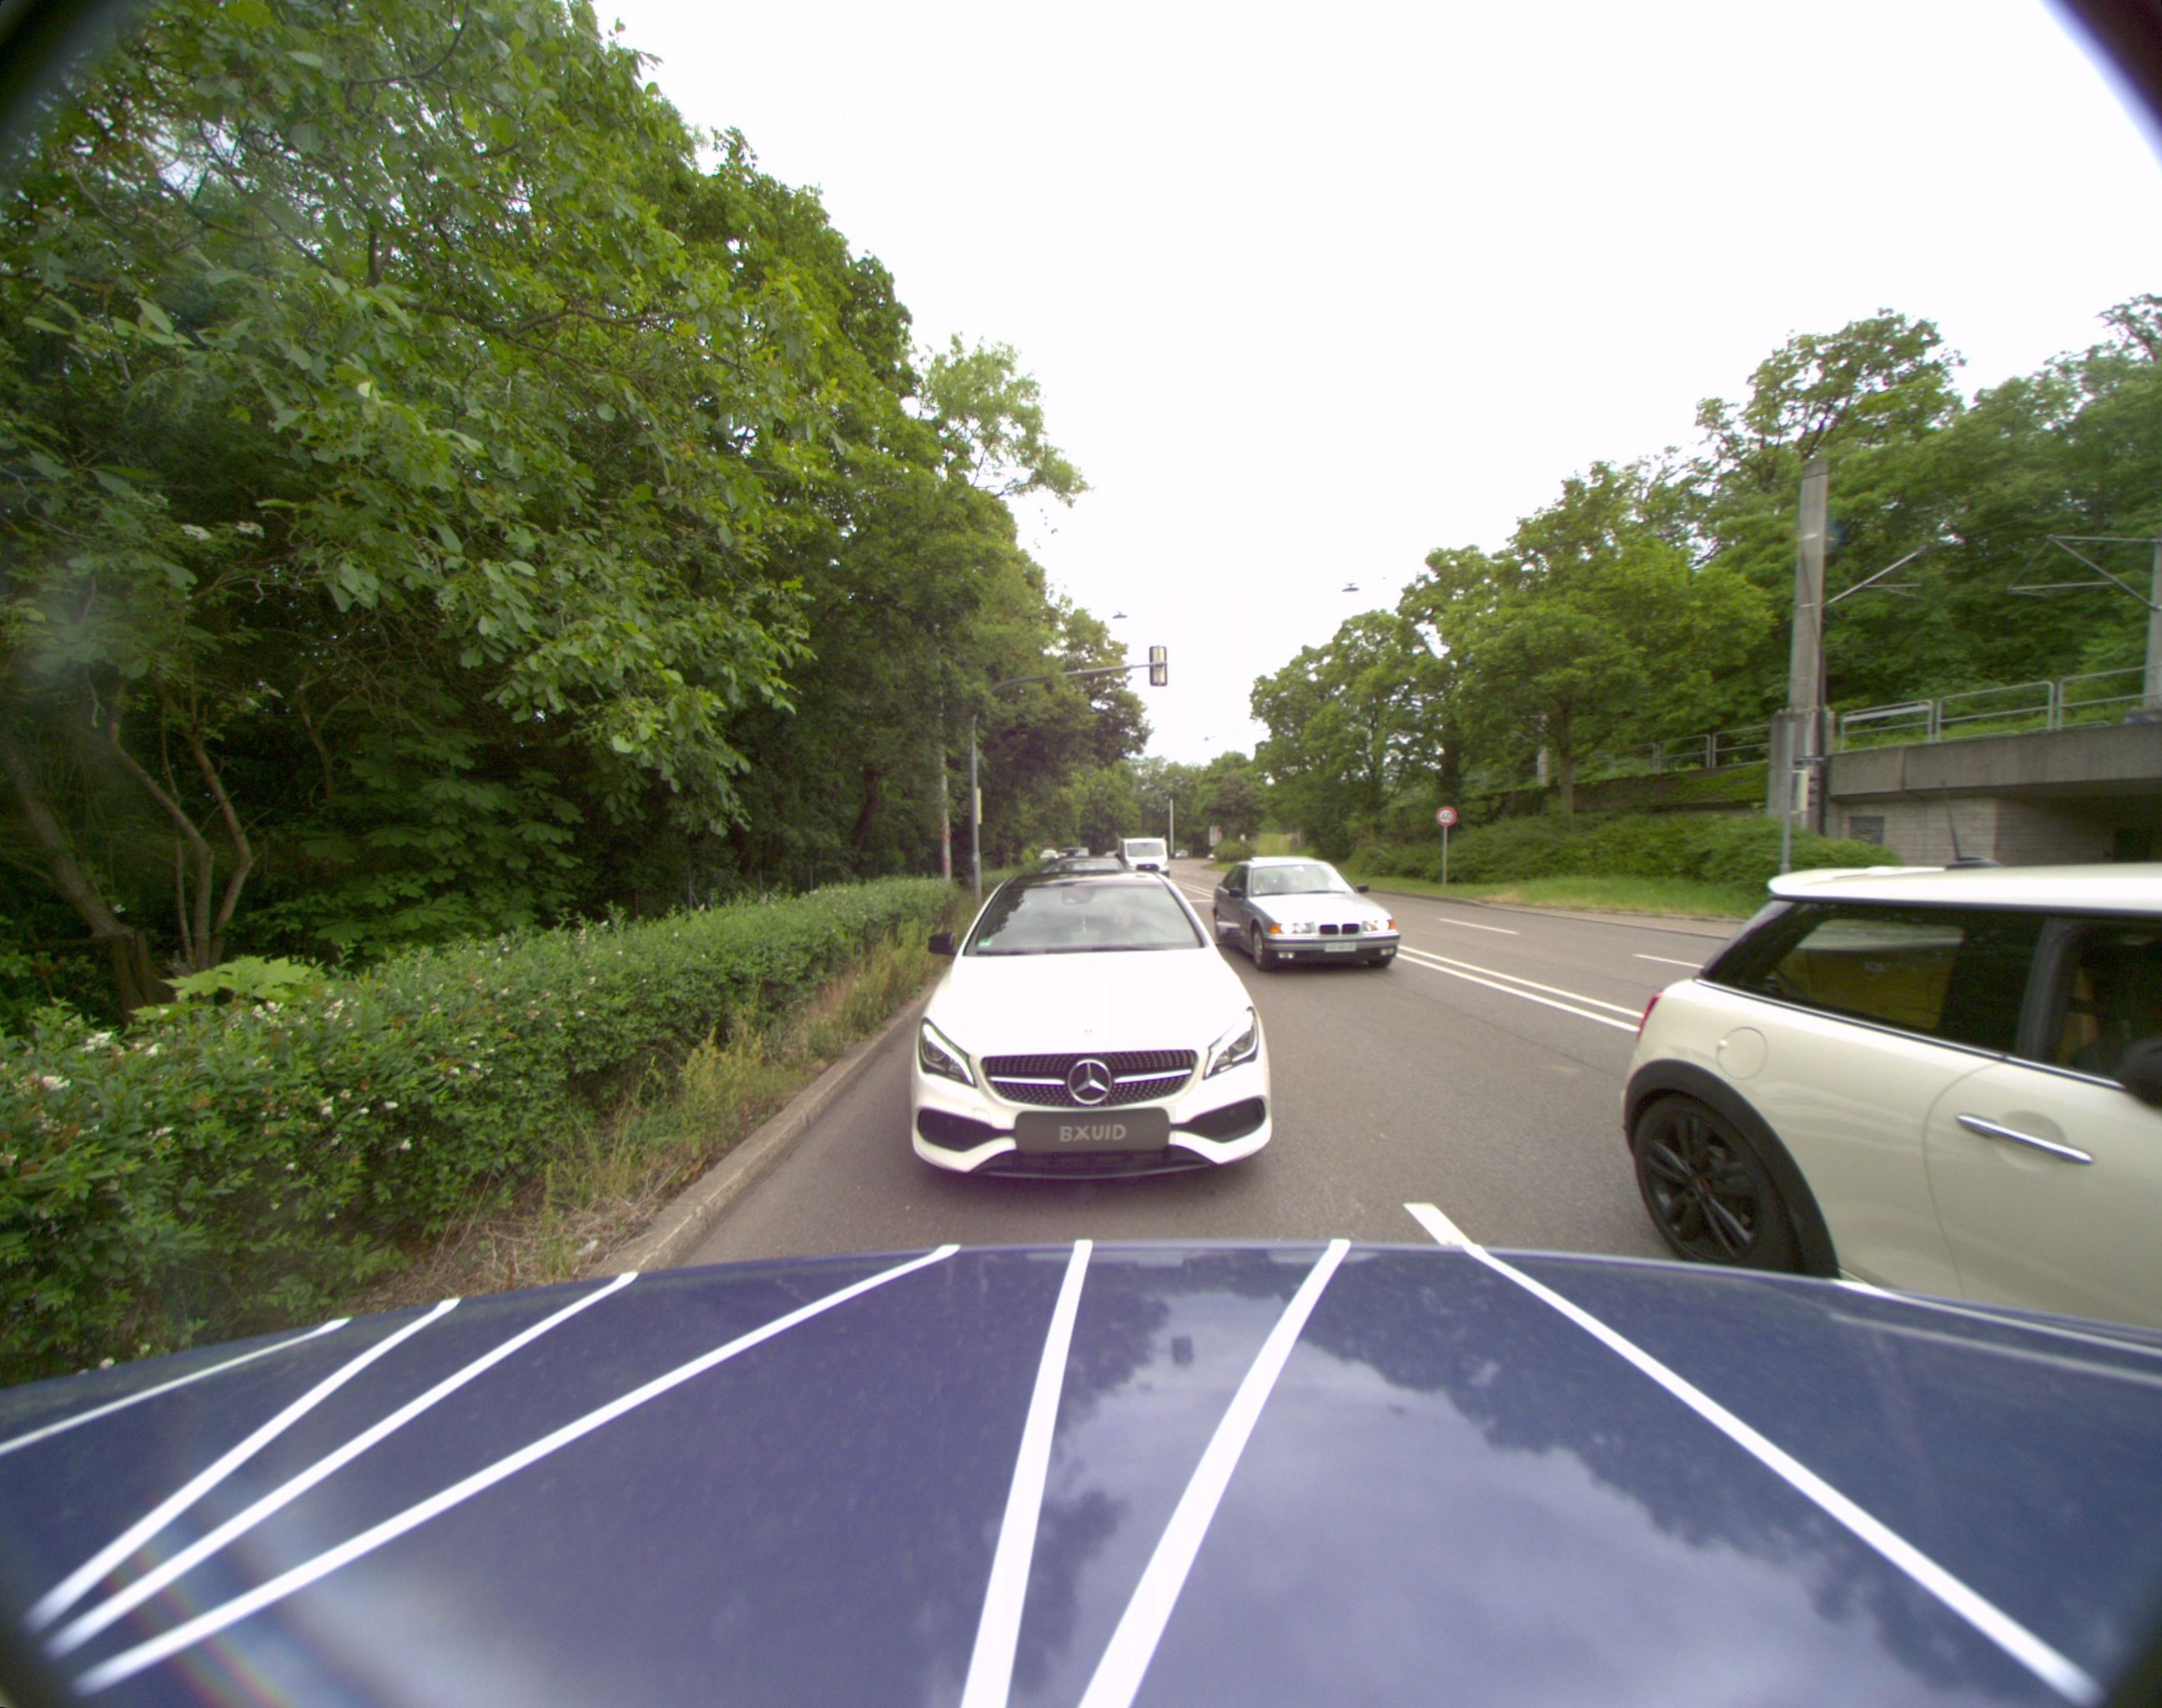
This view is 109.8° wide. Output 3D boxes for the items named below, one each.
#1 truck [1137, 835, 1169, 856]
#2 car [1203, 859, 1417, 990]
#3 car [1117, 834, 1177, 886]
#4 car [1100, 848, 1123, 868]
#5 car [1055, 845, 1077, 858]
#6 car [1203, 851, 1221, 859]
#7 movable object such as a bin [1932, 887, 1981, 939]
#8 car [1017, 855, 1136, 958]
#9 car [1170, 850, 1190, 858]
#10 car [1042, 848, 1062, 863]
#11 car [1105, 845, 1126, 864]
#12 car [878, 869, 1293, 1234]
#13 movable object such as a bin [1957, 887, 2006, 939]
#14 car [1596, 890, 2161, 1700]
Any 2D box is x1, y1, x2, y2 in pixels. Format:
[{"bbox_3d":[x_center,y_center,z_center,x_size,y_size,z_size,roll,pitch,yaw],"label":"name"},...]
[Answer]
[{"bbox_3d":[11.561,-1.353,122.187,2.195,3.137,6.665,2,1,33],"label":"truck"},{"bbox_3d":[2.916,0.808,10.653,1.664,1.382,4.182,-1,0,-1],"label":"car"},{"bbox_3d":[3.000,0.244,36.125,2.285,2.187,6.458,-1,0,0],"label":"car"},{"bbox_3d":[2.457,0.304,62.175,1.855,1.583,4.000,-1,0,1],"label":"car"},{"bbox_3d":[-1.743,-0.291,90.110,1.754,1.575,4.013,1,0,10],"label":"car"},{"bbox_3d":[23.182,0.191,134.455,1.751,1.354,4.019,4,1,33],"label":"car"},{"bbox_3d":[18.352,1.233,15.929,0.419,1.057,0.503,0,1,-4],"label":"movable object such as a bin"},{"bbox_3d":[-0.084,0.811,13.650,1.755,1.417,4.009,3,1,0],"label":"car"},{"bbox_3d":[17.039,0.012,130.687,1.751,1.354,4.019,4,1,33],"label":"car"},{"bbox_3d":[-2.853,0.112,74.947,1.765,1.433,3.891,1,0,0],"label":"car"},{"bbox_3d":[3.254,0.033,71.325,1.854,1.641,4.358,1,0,3],"label":"car"},{"bbox_3d":[0.048,0.929,5.410,1.801,1.470,4.010,-2,0,1],"label":"car"},{"bbox_3d":[19.043,1.232,16.073,0.419,1.057,0.503,0,1,-4],"label":"movable object such as a bin"},{"bbox_3d":[2.884,0.880,1.106,1.688,1.415,3.732,-1,0,-1],"label":"car"}]
